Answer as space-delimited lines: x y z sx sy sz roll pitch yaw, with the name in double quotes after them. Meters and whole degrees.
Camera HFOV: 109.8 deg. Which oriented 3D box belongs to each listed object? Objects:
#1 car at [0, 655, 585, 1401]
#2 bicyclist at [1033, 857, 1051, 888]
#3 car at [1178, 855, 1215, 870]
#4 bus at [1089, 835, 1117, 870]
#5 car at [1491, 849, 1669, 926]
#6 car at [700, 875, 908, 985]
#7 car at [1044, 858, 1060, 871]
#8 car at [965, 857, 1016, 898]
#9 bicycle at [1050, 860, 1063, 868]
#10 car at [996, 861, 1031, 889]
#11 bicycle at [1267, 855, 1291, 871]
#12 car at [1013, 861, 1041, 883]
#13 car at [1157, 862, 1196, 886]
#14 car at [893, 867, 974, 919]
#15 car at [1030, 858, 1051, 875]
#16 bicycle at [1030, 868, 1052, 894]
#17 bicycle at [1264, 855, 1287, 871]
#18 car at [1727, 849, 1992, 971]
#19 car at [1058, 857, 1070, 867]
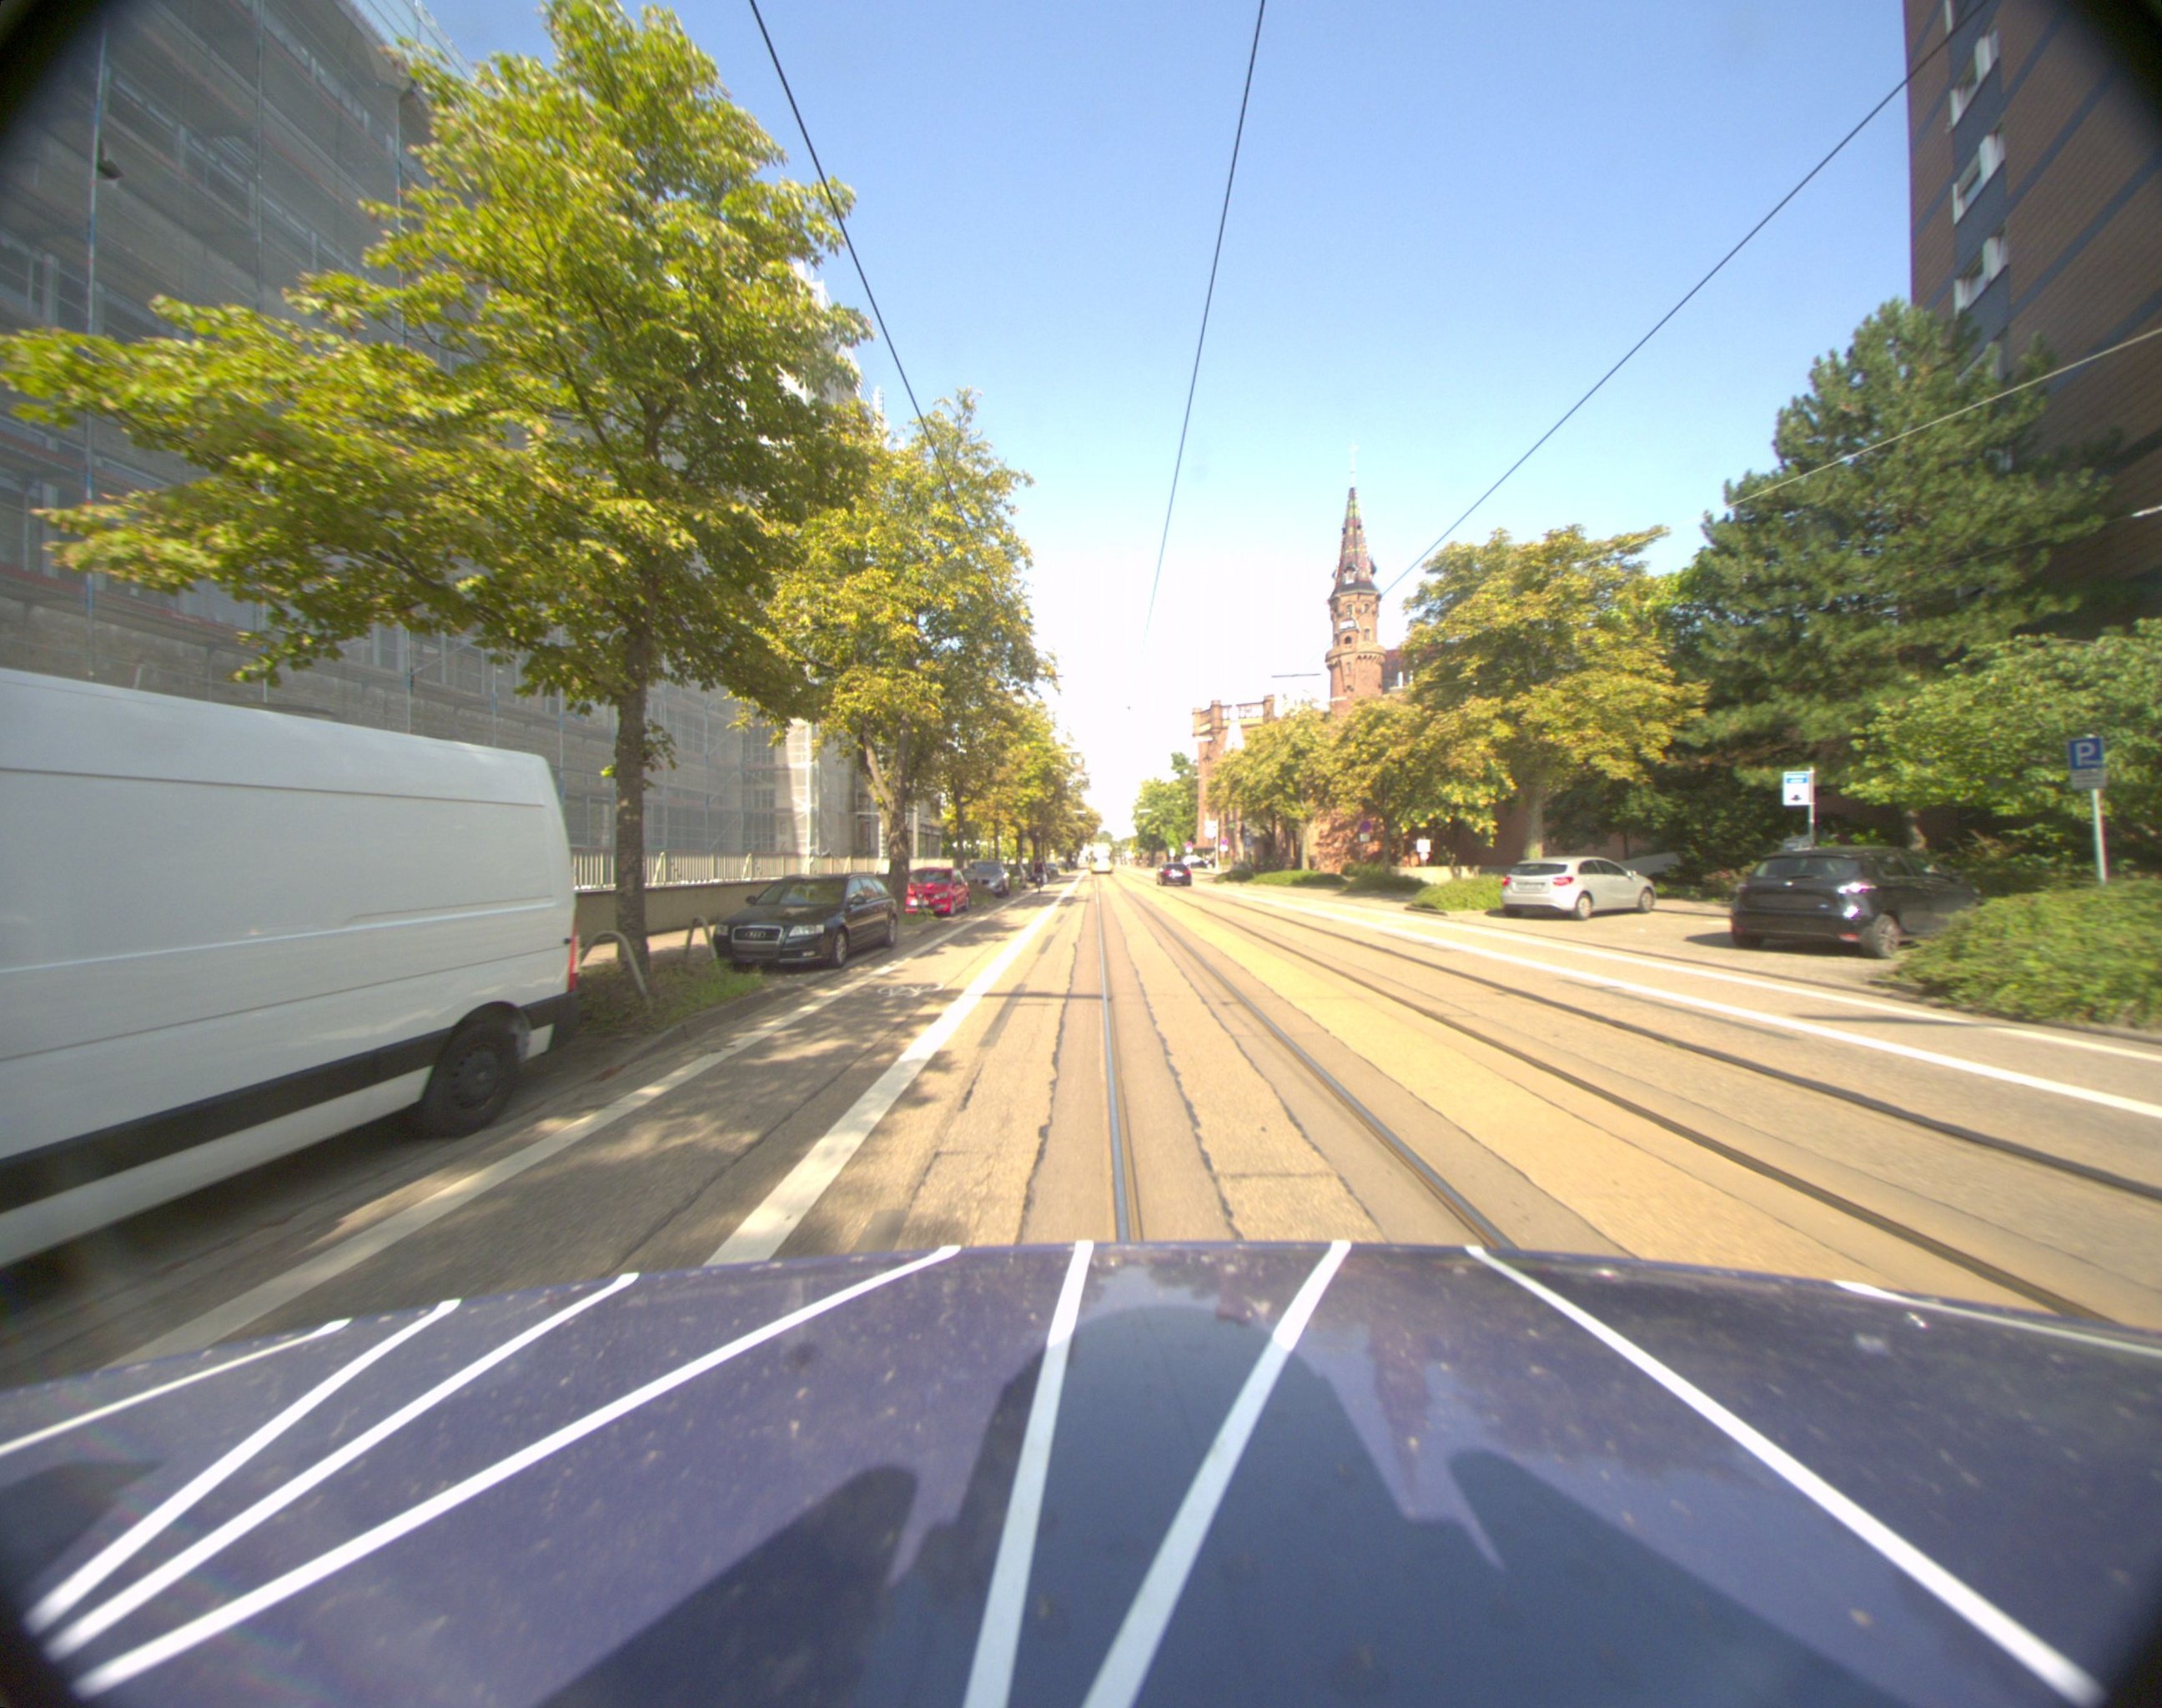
-4.686 0.556 2.757 2.088 2.537 5.501 3 0 0 "car"
-1.889 0.908 36.893 0.789 1.461 1.116 -1 0 3 "bicyclist"
14.633 1.065 96.486 4.407 1.636 1.957 -5 0 2 "car"
2.609 -0.145 88.358 2.900 3.771 9.320 -1 0 3 "bus"
11.841 0.728 17.992 4.005 1.470 1.785 -3 0 -28 "car"
-4.375 1.115 12.892 1.620 1.366 4.827 0 0 2 "car"
-3.309 1.238 87.479 1.644 1.421 3.988 0 0 -1 "car"
-3.973 1.013 33.911 1.758 1.681 4.396 -1 0 -1 "car"
-3.207 1.315 99.879 1.773 1.057 0.796 1 0 -1 "bicycle"
-3.909 1.203 44.311 1.579 1.476 3.739 1 0 2 "car"
15.302 0.656 58.700 1.810 1.068 0.420 -5 2 -21 "bicycle"
-3.992 1.346 56.679 1.650 1.502 3.778 1 0 1 "car"
5.685 1.165 45.672 1.833 1.368 4.512 0 0 0 "car"
-4.444 1.139 23.438 1.620 1.405 4.000 0 0 1 "car"
-3.668 1.137 68.996 1.650 1.420 4.085 1 0 0 "car"
-1.909 1.258 36.322 0.789 1.138 2.305 -1 0 3 "bicycle"
15.142 0.700 59.137 1.810 1.068 0.420 -5 2 -21 "bicycle"
11.816 0.751 11.530 3.650 1.506 1.618 -2 0 -24 "car"
-2.601 1.193 117.857 1.745 1.477 4.437 1 -1 0 "car"
